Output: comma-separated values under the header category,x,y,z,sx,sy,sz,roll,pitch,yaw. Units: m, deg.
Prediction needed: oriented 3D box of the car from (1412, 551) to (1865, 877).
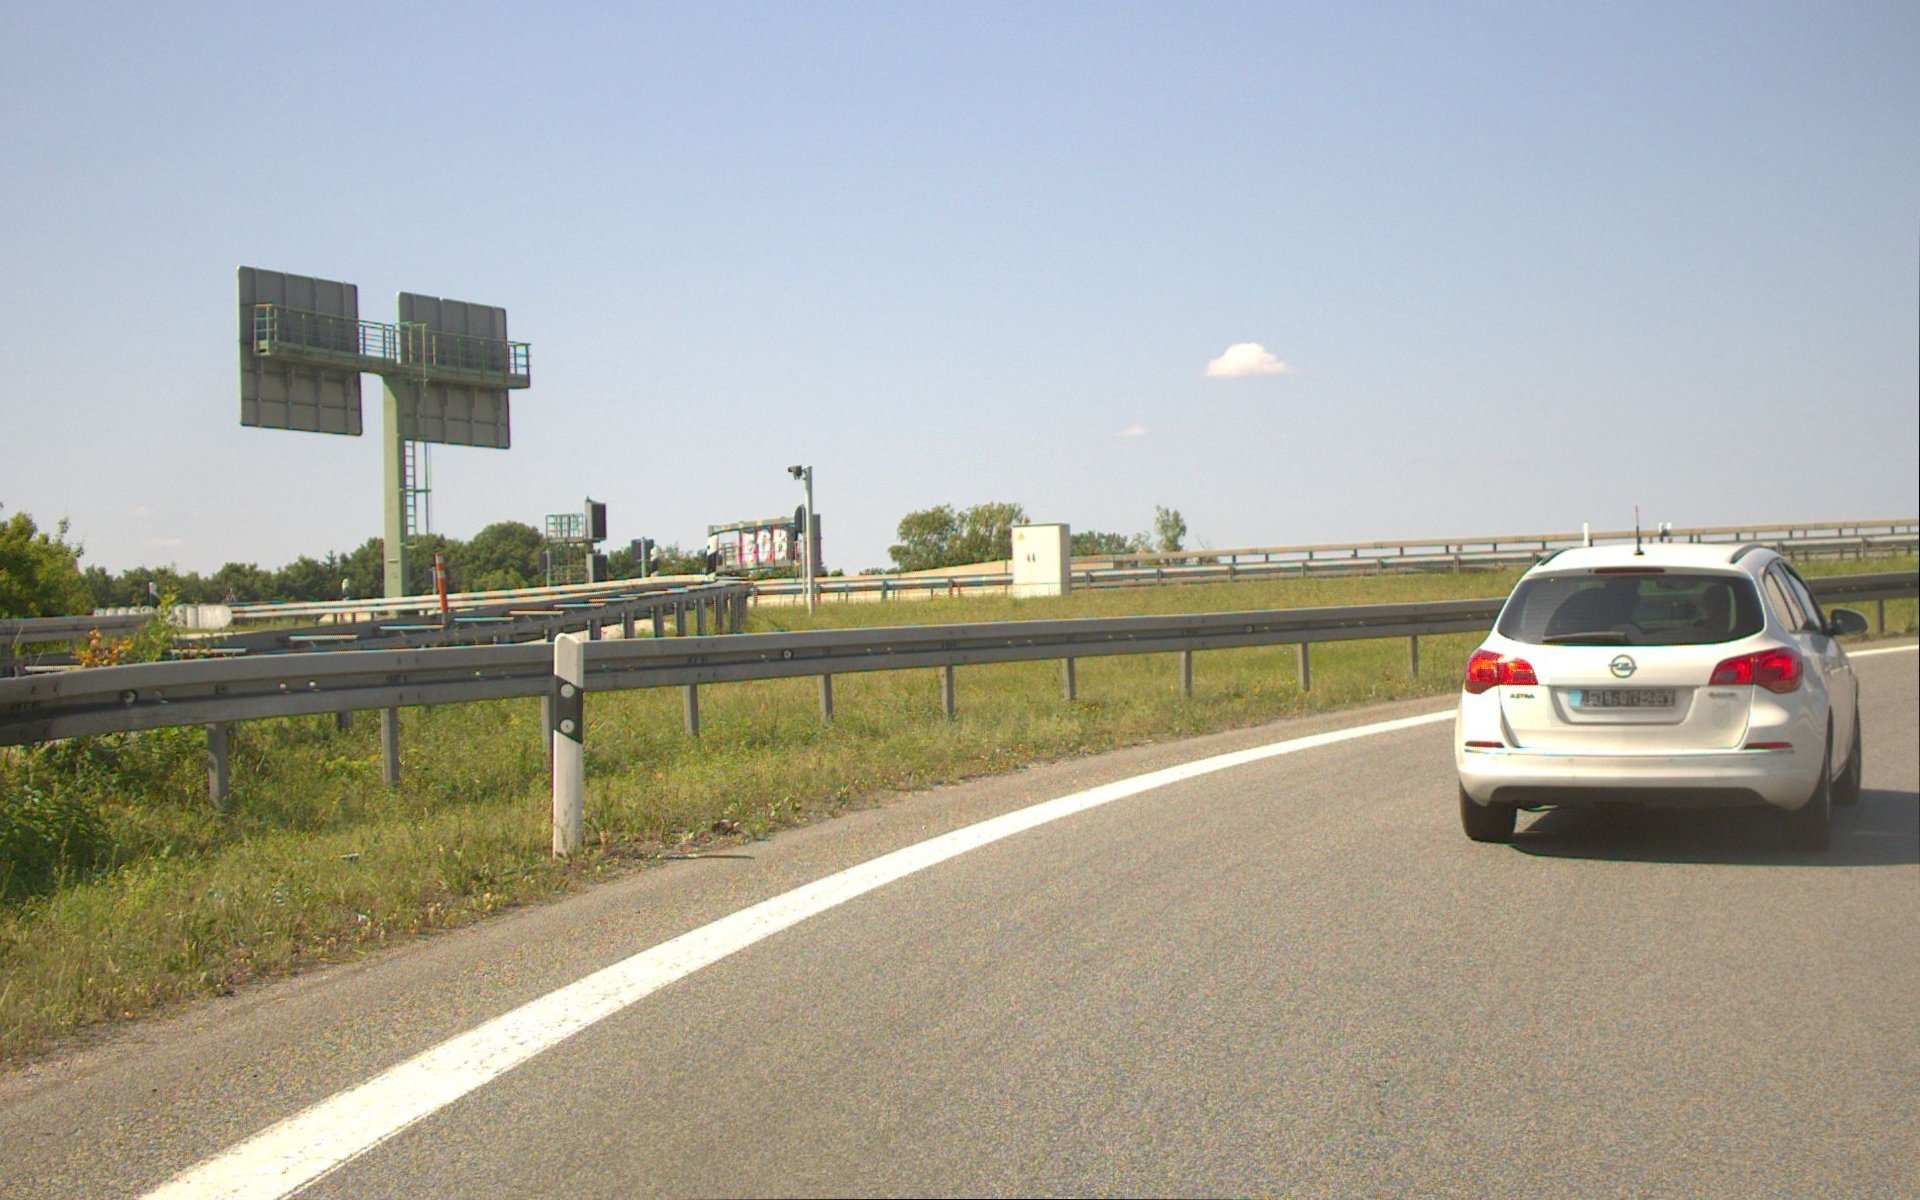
category,x,y,z,sx,sy,sz,roll,pitch,yaw
car,3.680,0.491,18.036,1.856,1.438,4.368,0,1,18
